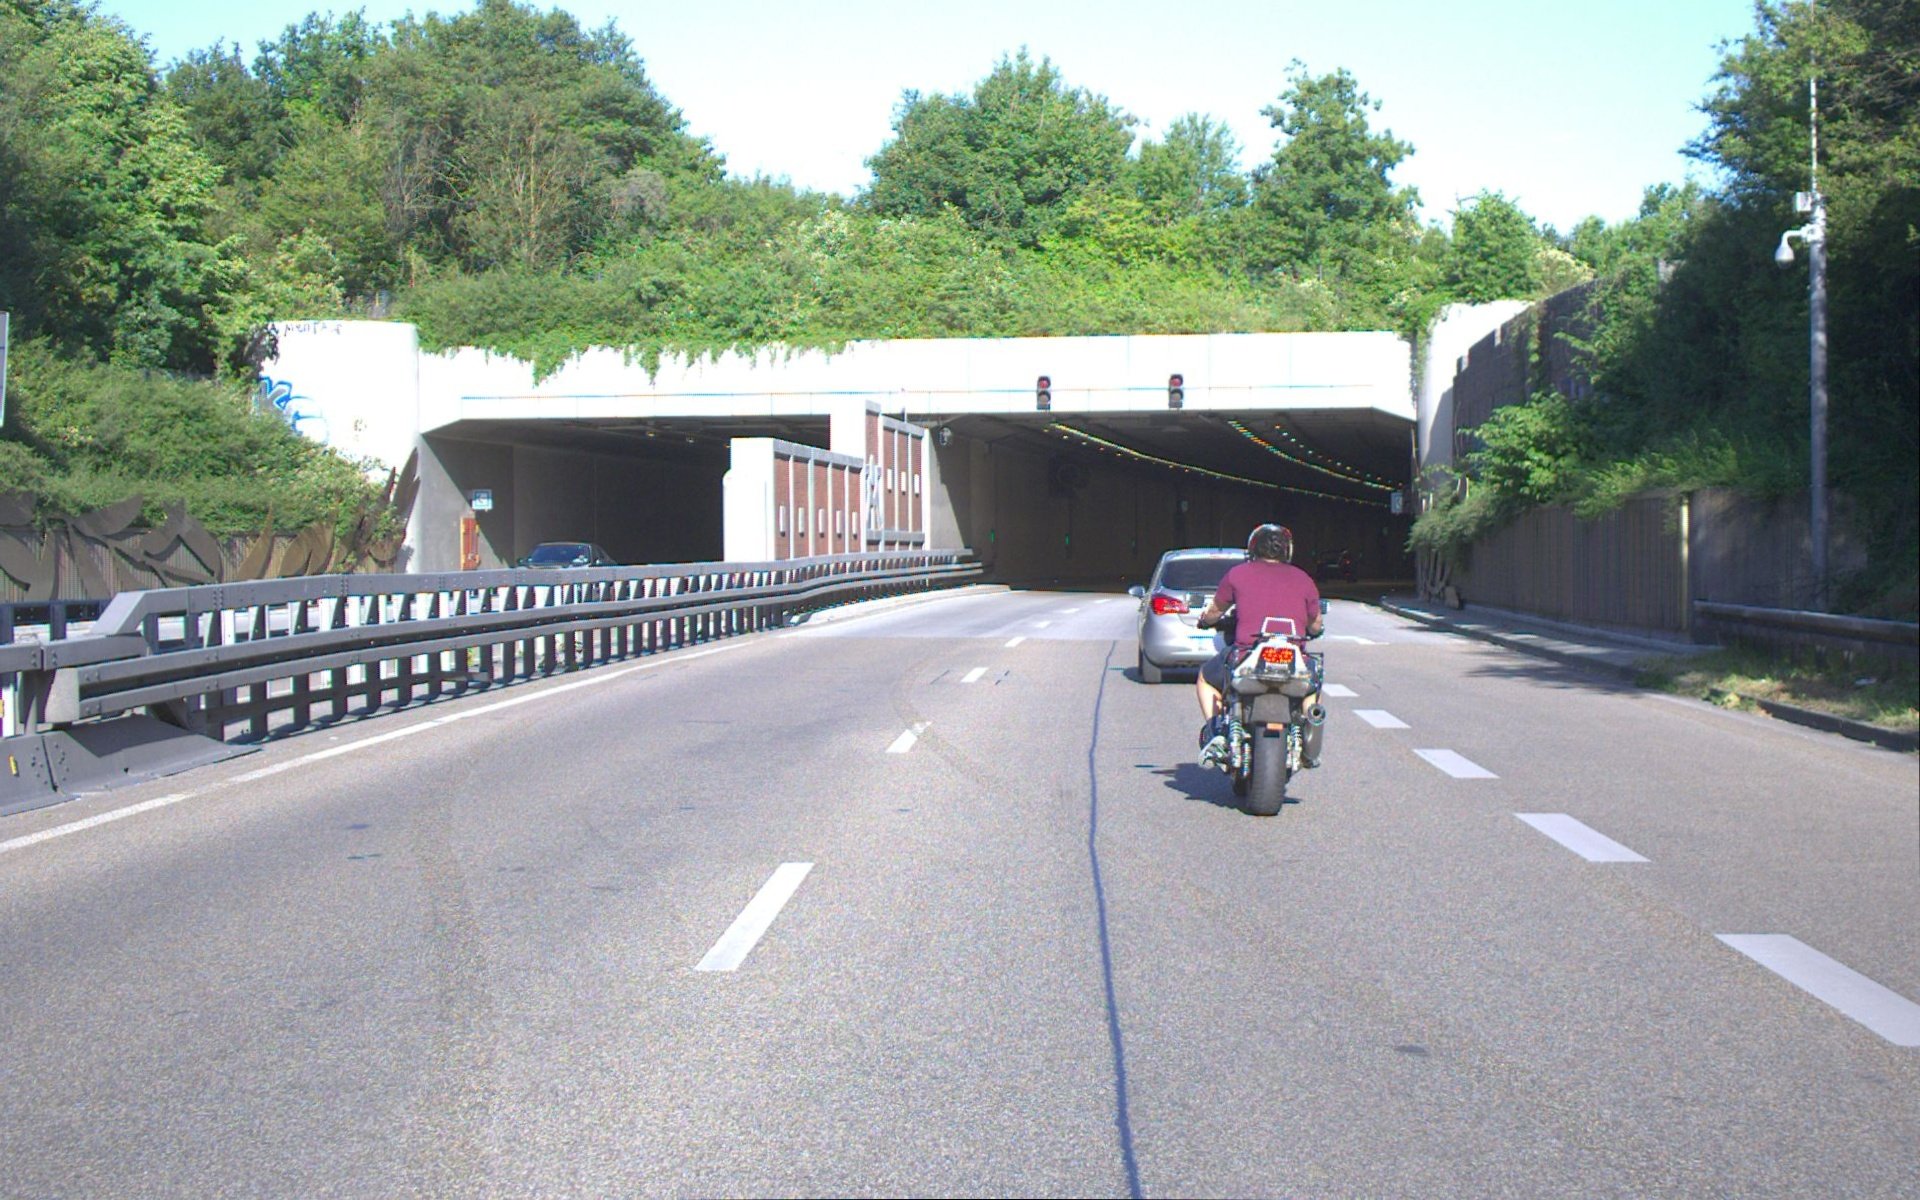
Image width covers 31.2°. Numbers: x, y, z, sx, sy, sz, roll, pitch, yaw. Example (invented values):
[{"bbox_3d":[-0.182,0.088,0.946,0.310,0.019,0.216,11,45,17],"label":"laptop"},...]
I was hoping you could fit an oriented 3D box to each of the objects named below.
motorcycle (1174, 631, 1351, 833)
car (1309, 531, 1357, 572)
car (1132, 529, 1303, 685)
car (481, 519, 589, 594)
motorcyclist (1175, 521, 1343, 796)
[{"bbox_3d":[1.686,0.711,19.546,0.858,0.988,2.728,1,1,2],"label":"motorcycle"},{"bbox_3d":[17.834,-2.340,164.345,1.994,1.919,3.998,0,2,11],"label":"car"},{"bbox_3d":[2.795,0.029,38.032,1.667,1.546,4.000,1,2,2],"label":"car"},{"bbox_3d":[-10.243,-1.072,83.138,1.667,1.669,4.863,1,2,4],"label":"car"},{"bbox_3d":[1.689,0.311,19.588,0.883,1.496,1.063,1,2,3],"label":"motorcyclist"}]
